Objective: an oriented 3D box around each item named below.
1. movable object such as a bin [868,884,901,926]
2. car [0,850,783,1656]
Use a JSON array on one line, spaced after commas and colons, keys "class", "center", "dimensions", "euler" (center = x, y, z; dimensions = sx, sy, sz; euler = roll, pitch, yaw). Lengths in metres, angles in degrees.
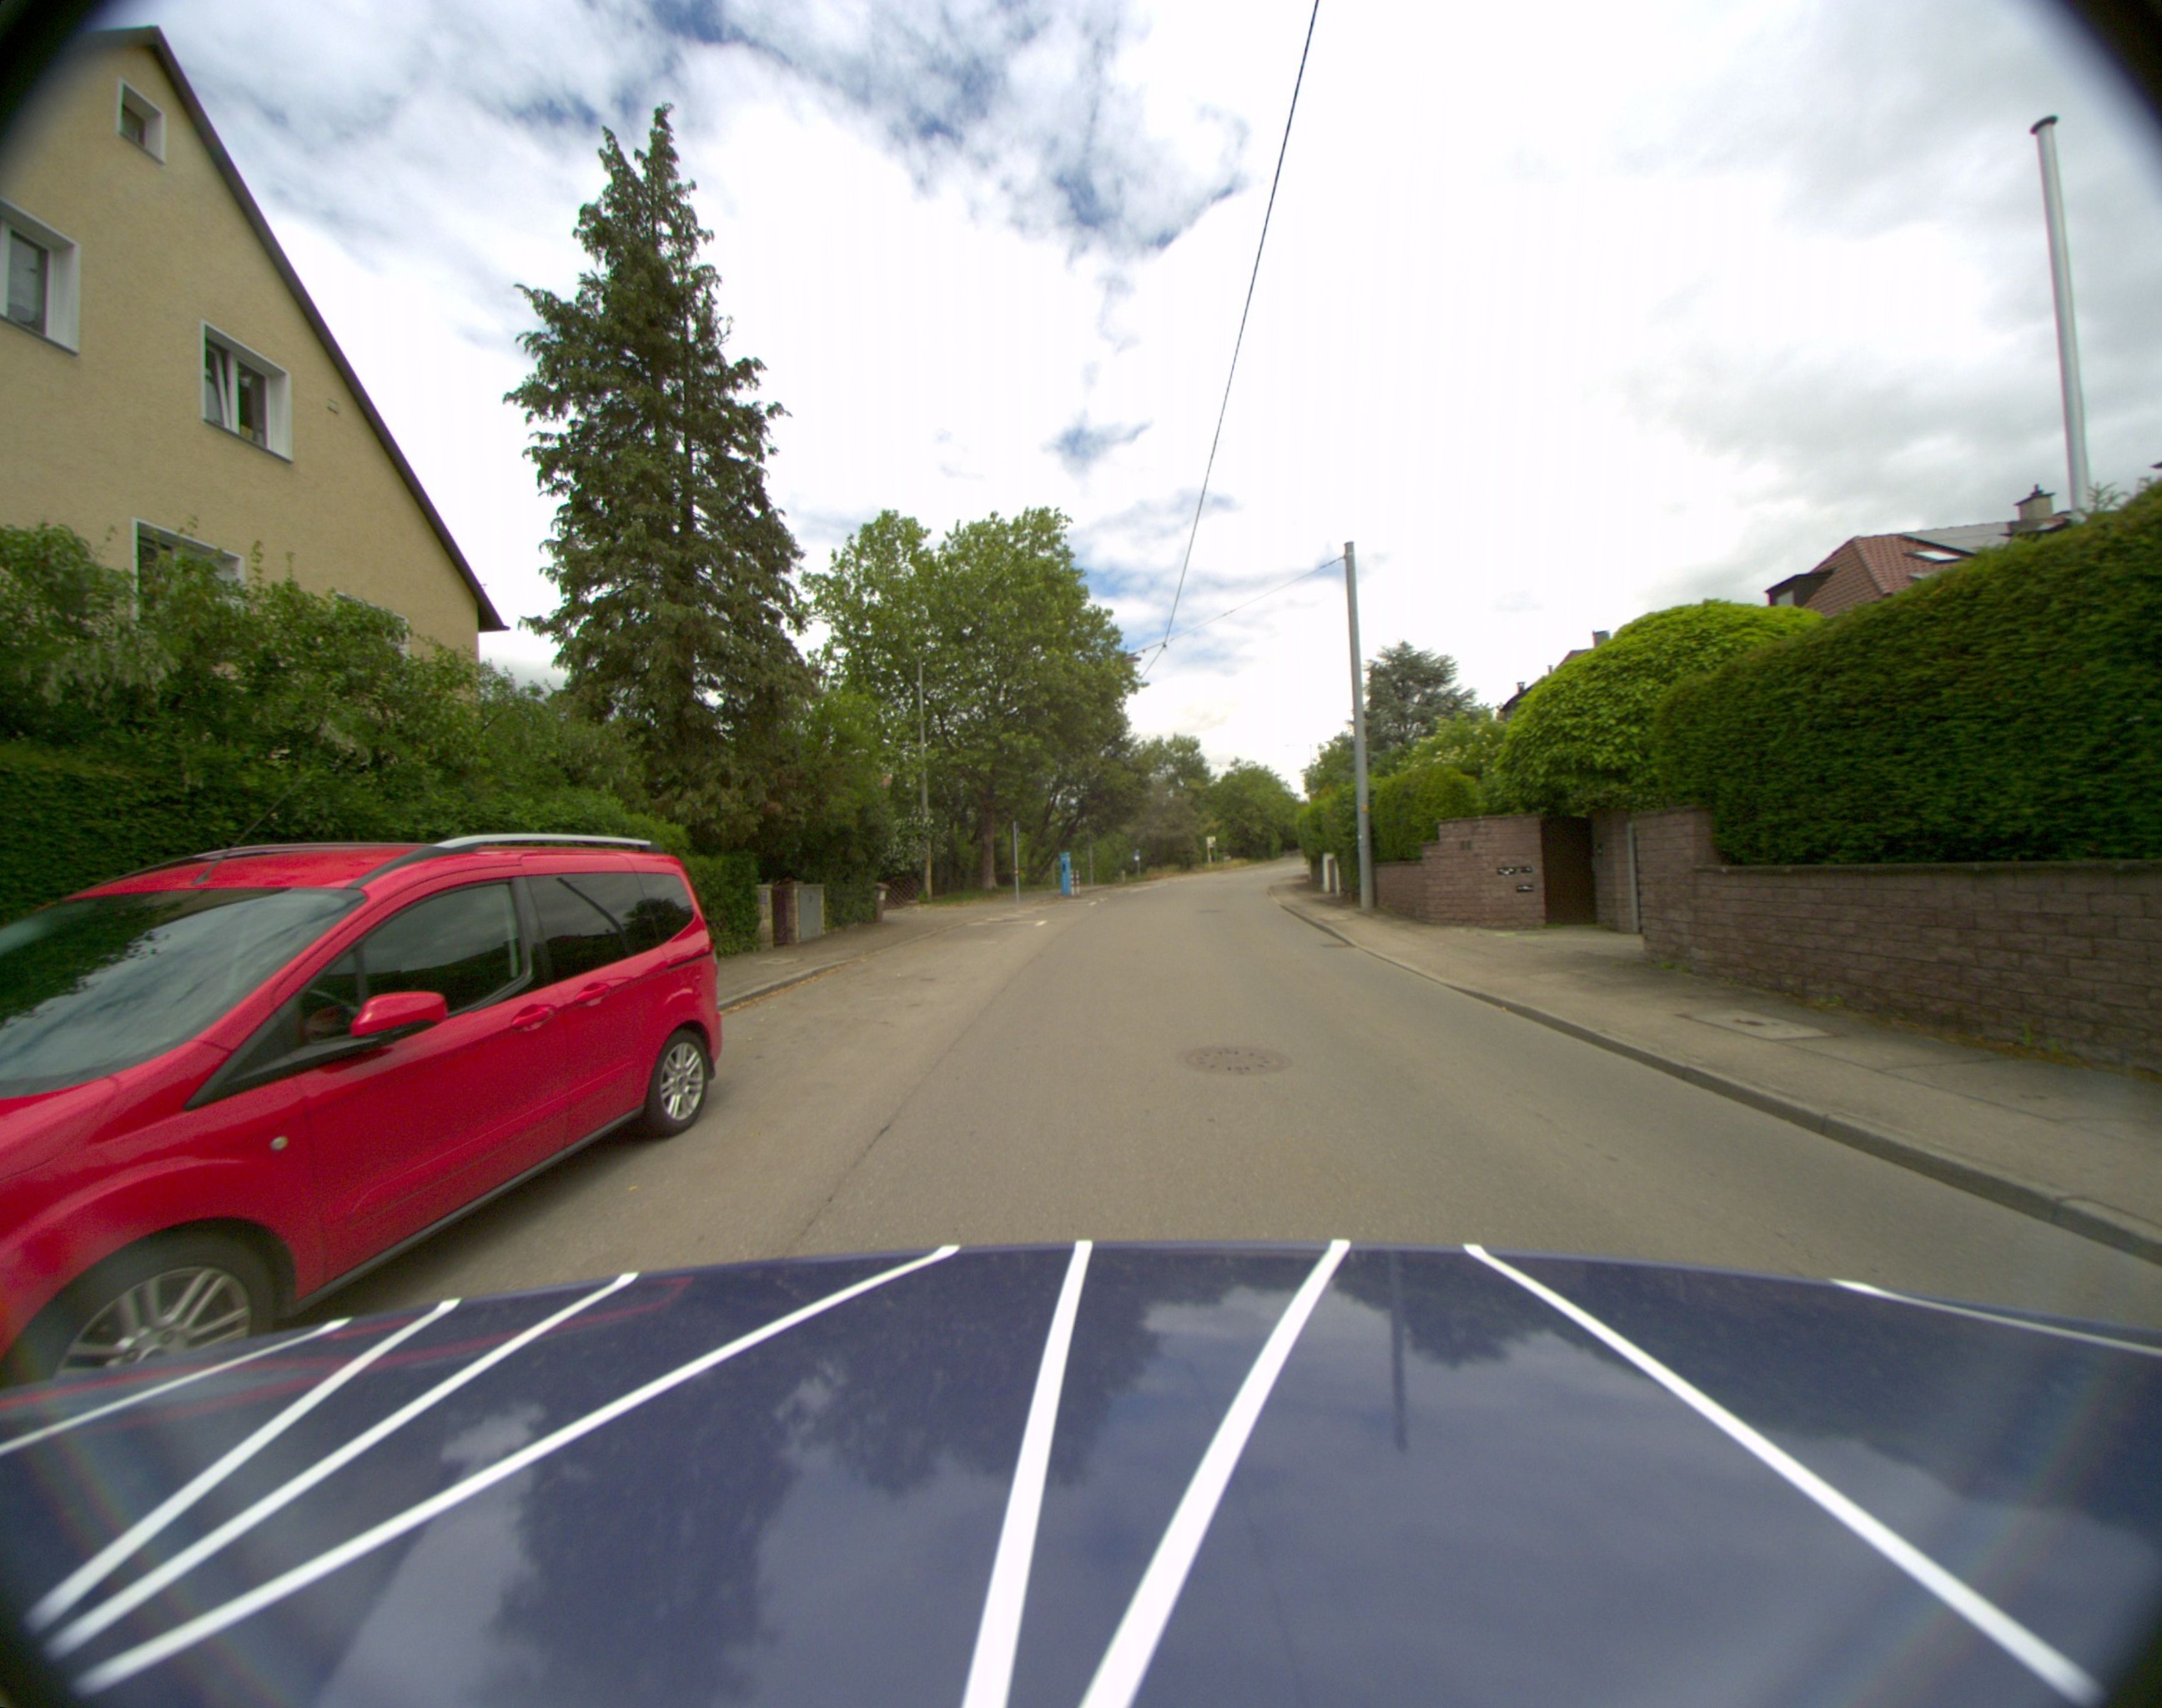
[{"class": "movable object such as a bin", "center": [-5.390, 1.395, 20.835], "dimensions": [0.604, 1.063, 0.569], "euler": [-4, 0, 14]}, {"class": "car", "center": [-3.290, 0.940, 3.458], "dimensions": [1.765, 1.786, 4.949], "euler": [-3, 0, 1]}]
